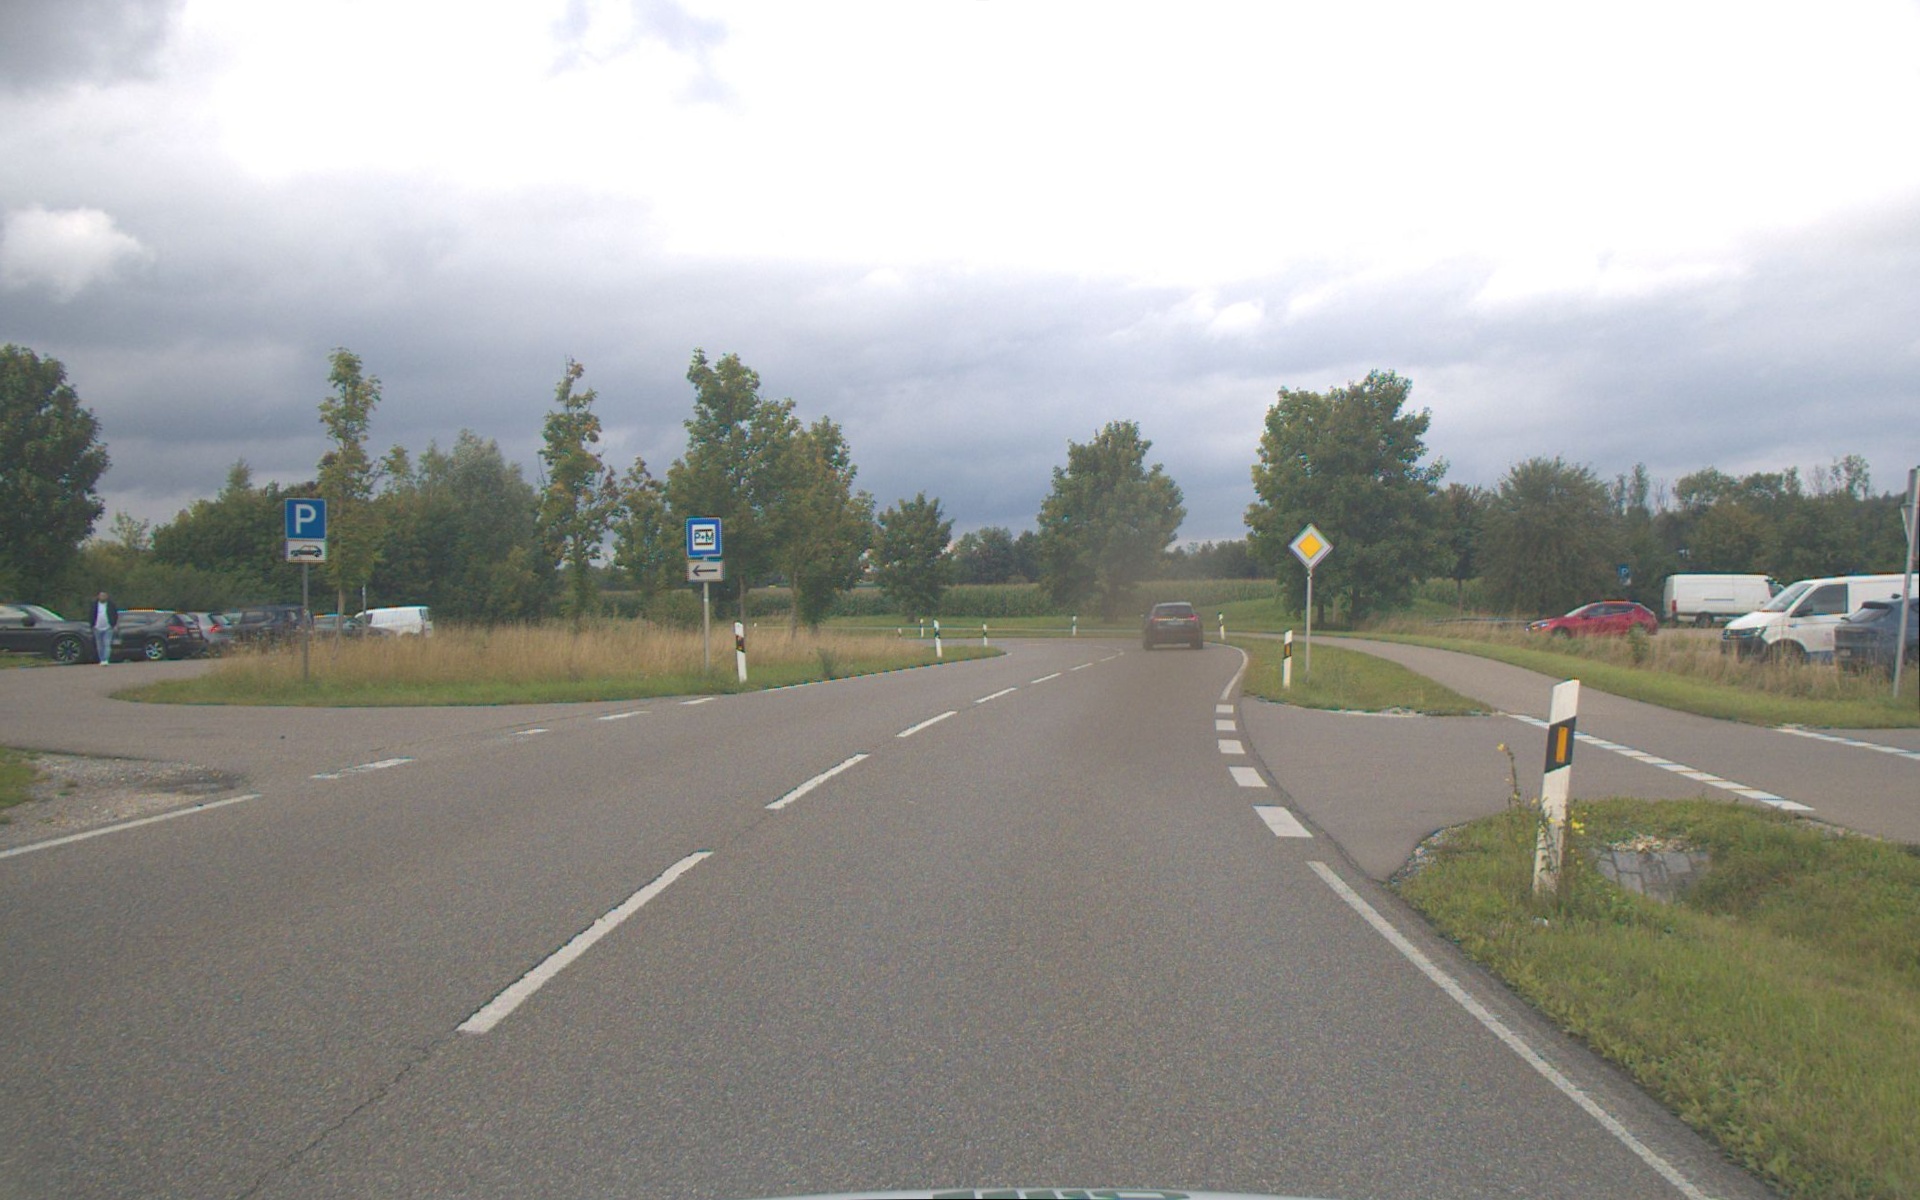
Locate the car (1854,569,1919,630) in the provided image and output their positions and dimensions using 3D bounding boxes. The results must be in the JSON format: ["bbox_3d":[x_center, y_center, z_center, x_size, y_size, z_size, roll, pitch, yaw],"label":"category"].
[{"bbox_3d":[33.502,-0.075,56.275,4.919,2.035,2.233,-2,0,7],"label":"car"}]

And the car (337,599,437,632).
[{"bbox_3d":[-25.166,0.689,72.737,3.913,1.404,1.473,0,0,-10],"label":"car"}]

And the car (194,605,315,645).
[{"bbox_3d":[-26.034,0.912,61.142,3.919,1.404,1.470,0,0,-14],"label":"car"}]

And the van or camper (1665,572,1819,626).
[{"bbox_3d":[38.724,-0.023,82.078,6.598,2.606,2.051,0,0,11],"label":"van or camper"}]

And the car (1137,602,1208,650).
[{"bbox_3d":[6.711,0.808,52.521,1.803,1.442,4.000,0,0,1],"label":"car"}]

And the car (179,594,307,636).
[{"bbox_3d":[-25.120,0.509,58.037,3.921,1.404,1.470,0,0,-15],"label":"car"}]

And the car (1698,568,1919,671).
[{"bbox_3d":[17.813,0.390,33.538,4.840,2.009,1.956,0,0,7],"label":"car"}]

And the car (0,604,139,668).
[{"bbox_3d":[-23.866,0.917,42.984,4.159,1.593,1.755,0,0,-7],"label":"car"}]

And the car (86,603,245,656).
[{"bbox_3d":[-25.119,0.921,52.390,4.155,1.593,1.757,0,0,-3],"label":"car"}]

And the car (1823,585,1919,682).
[{"bbox_3d":[17.497,0.519,28.557,4.181,1.593,1.839,-2,0,7],"label":"car"}]

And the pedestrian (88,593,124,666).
[{"bbox_3d":[-20.029,0.686,38.808,0.504,1.696,0.661,0,0,0],"label":"pedestrian"}]

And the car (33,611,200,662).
[{"bbox_3d":[-24.530,1.045,48.189,3.908,1.404,1.823,0,0,-4],"label":"car"}]

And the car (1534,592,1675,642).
[{"bbox_3d":[22.668,0.579,58.336,4.237,1.603,1.973,-2,0,7],"label":"car"}]
